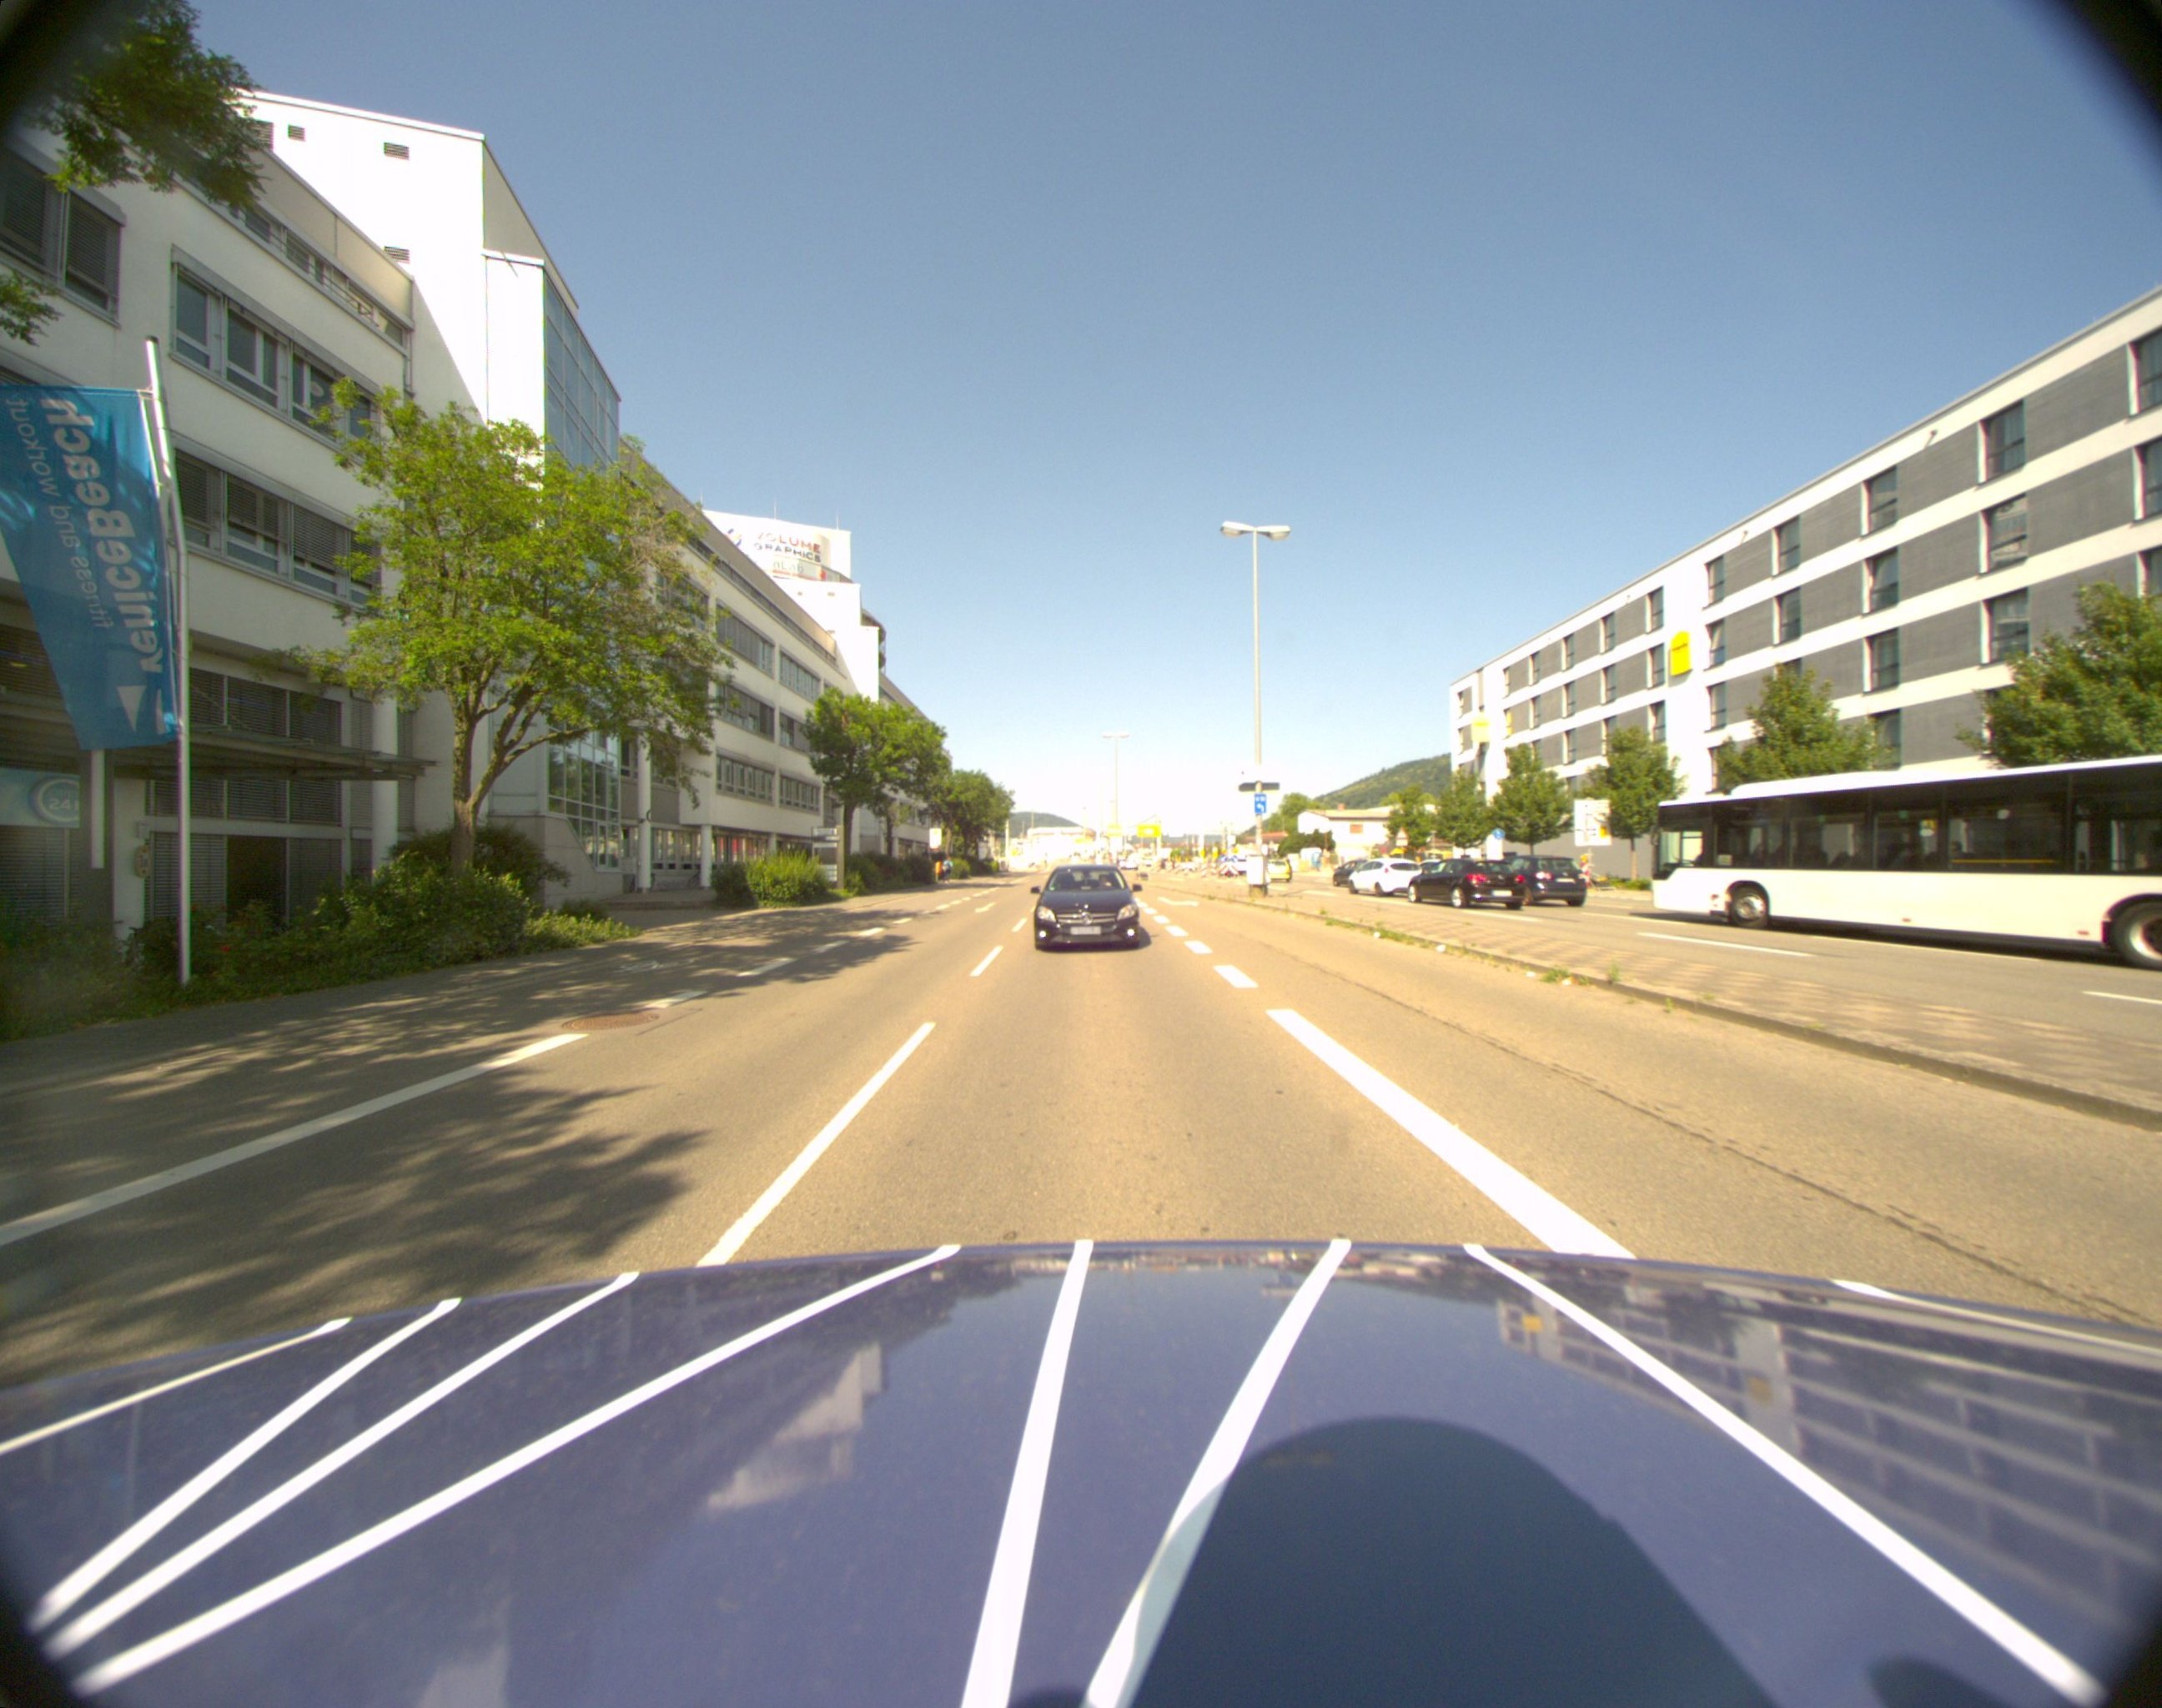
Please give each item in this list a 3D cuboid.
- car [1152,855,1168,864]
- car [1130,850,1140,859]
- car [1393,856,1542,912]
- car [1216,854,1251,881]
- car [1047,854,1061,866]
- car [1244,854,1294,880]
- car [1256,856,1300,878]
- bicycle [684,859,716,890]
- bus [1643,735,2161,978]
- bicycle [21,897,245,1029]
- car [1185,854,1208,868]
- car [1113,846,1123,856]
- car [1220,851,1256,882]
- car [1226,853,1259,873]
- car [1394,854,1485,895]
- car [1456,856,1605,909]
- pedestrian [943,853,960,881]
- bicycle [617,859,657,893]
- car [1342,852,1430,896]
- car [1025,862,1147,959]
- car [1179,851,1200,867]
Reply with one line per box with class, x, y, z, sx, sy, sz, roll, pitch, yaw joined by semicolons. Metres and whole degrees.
car;11.897;0.869;114.213;1.815;1.328;3.937;-1;0;-3
car;11.552;0.133;162.342;1.998;2.002;4.000;-1;0;1
car;11.419;0.826;22.919;1.998;1.424;4.890;-1;1;0
car;12.042;1.043;60.333;1.998;2.002;3.999;-2;1;1
car;-4.635;1.047;131.582;1.998;2.002;4.000;-2;1;2
car;11.969;0.794;48.749;1.998;1.514;4.891;-1;0;1
car;14.377;0.900;55.776;1.998;1.514;4.891;-1;0;1
bicycle;-17.689;0.935;35.310;0.506;1.346;1.884;-1;0;1
bus;14.961;0.044;12.303;2.745;3.060;11.974;1;0;0
bicycle;-11.227;1.226;9.113;0.506;1.321;1.883;-1;0;-7
car;13.737;0.843;90.769;1.999;1.530;3.999;-1;0;-2
car;7.925;-0.717;162.061;1.998;2.002;3.999;-2;1;1
car;10.977;0.835;53.387;1.679;2.002;4.164;-2;1;1
car;14.661;0.791;69.326;1.998;1.702;4.891;-1;0;1
car;14.706;0.830;31.413;1.858;1.529;3.978;1;-1;0
car;14.399;0.834;24.760;1.998;1.514;4.891;-1;0;1
pedestrian;-9.115;0.900;53.471;0.942;1.875;1.289;2;1;1
bicycle;-18.034;0.876;30.913;0.506;1.346;1.884;-1;0;1
car;11.484;0.691;28.901;1.763;1.443;4.000;-2;1;1
car;0.104;0.916;14.253;1.905;1.431;4.693;-1;0;1
car;13.903;0.617;97.384;1.999;2.002;3.999;0;0;-1
